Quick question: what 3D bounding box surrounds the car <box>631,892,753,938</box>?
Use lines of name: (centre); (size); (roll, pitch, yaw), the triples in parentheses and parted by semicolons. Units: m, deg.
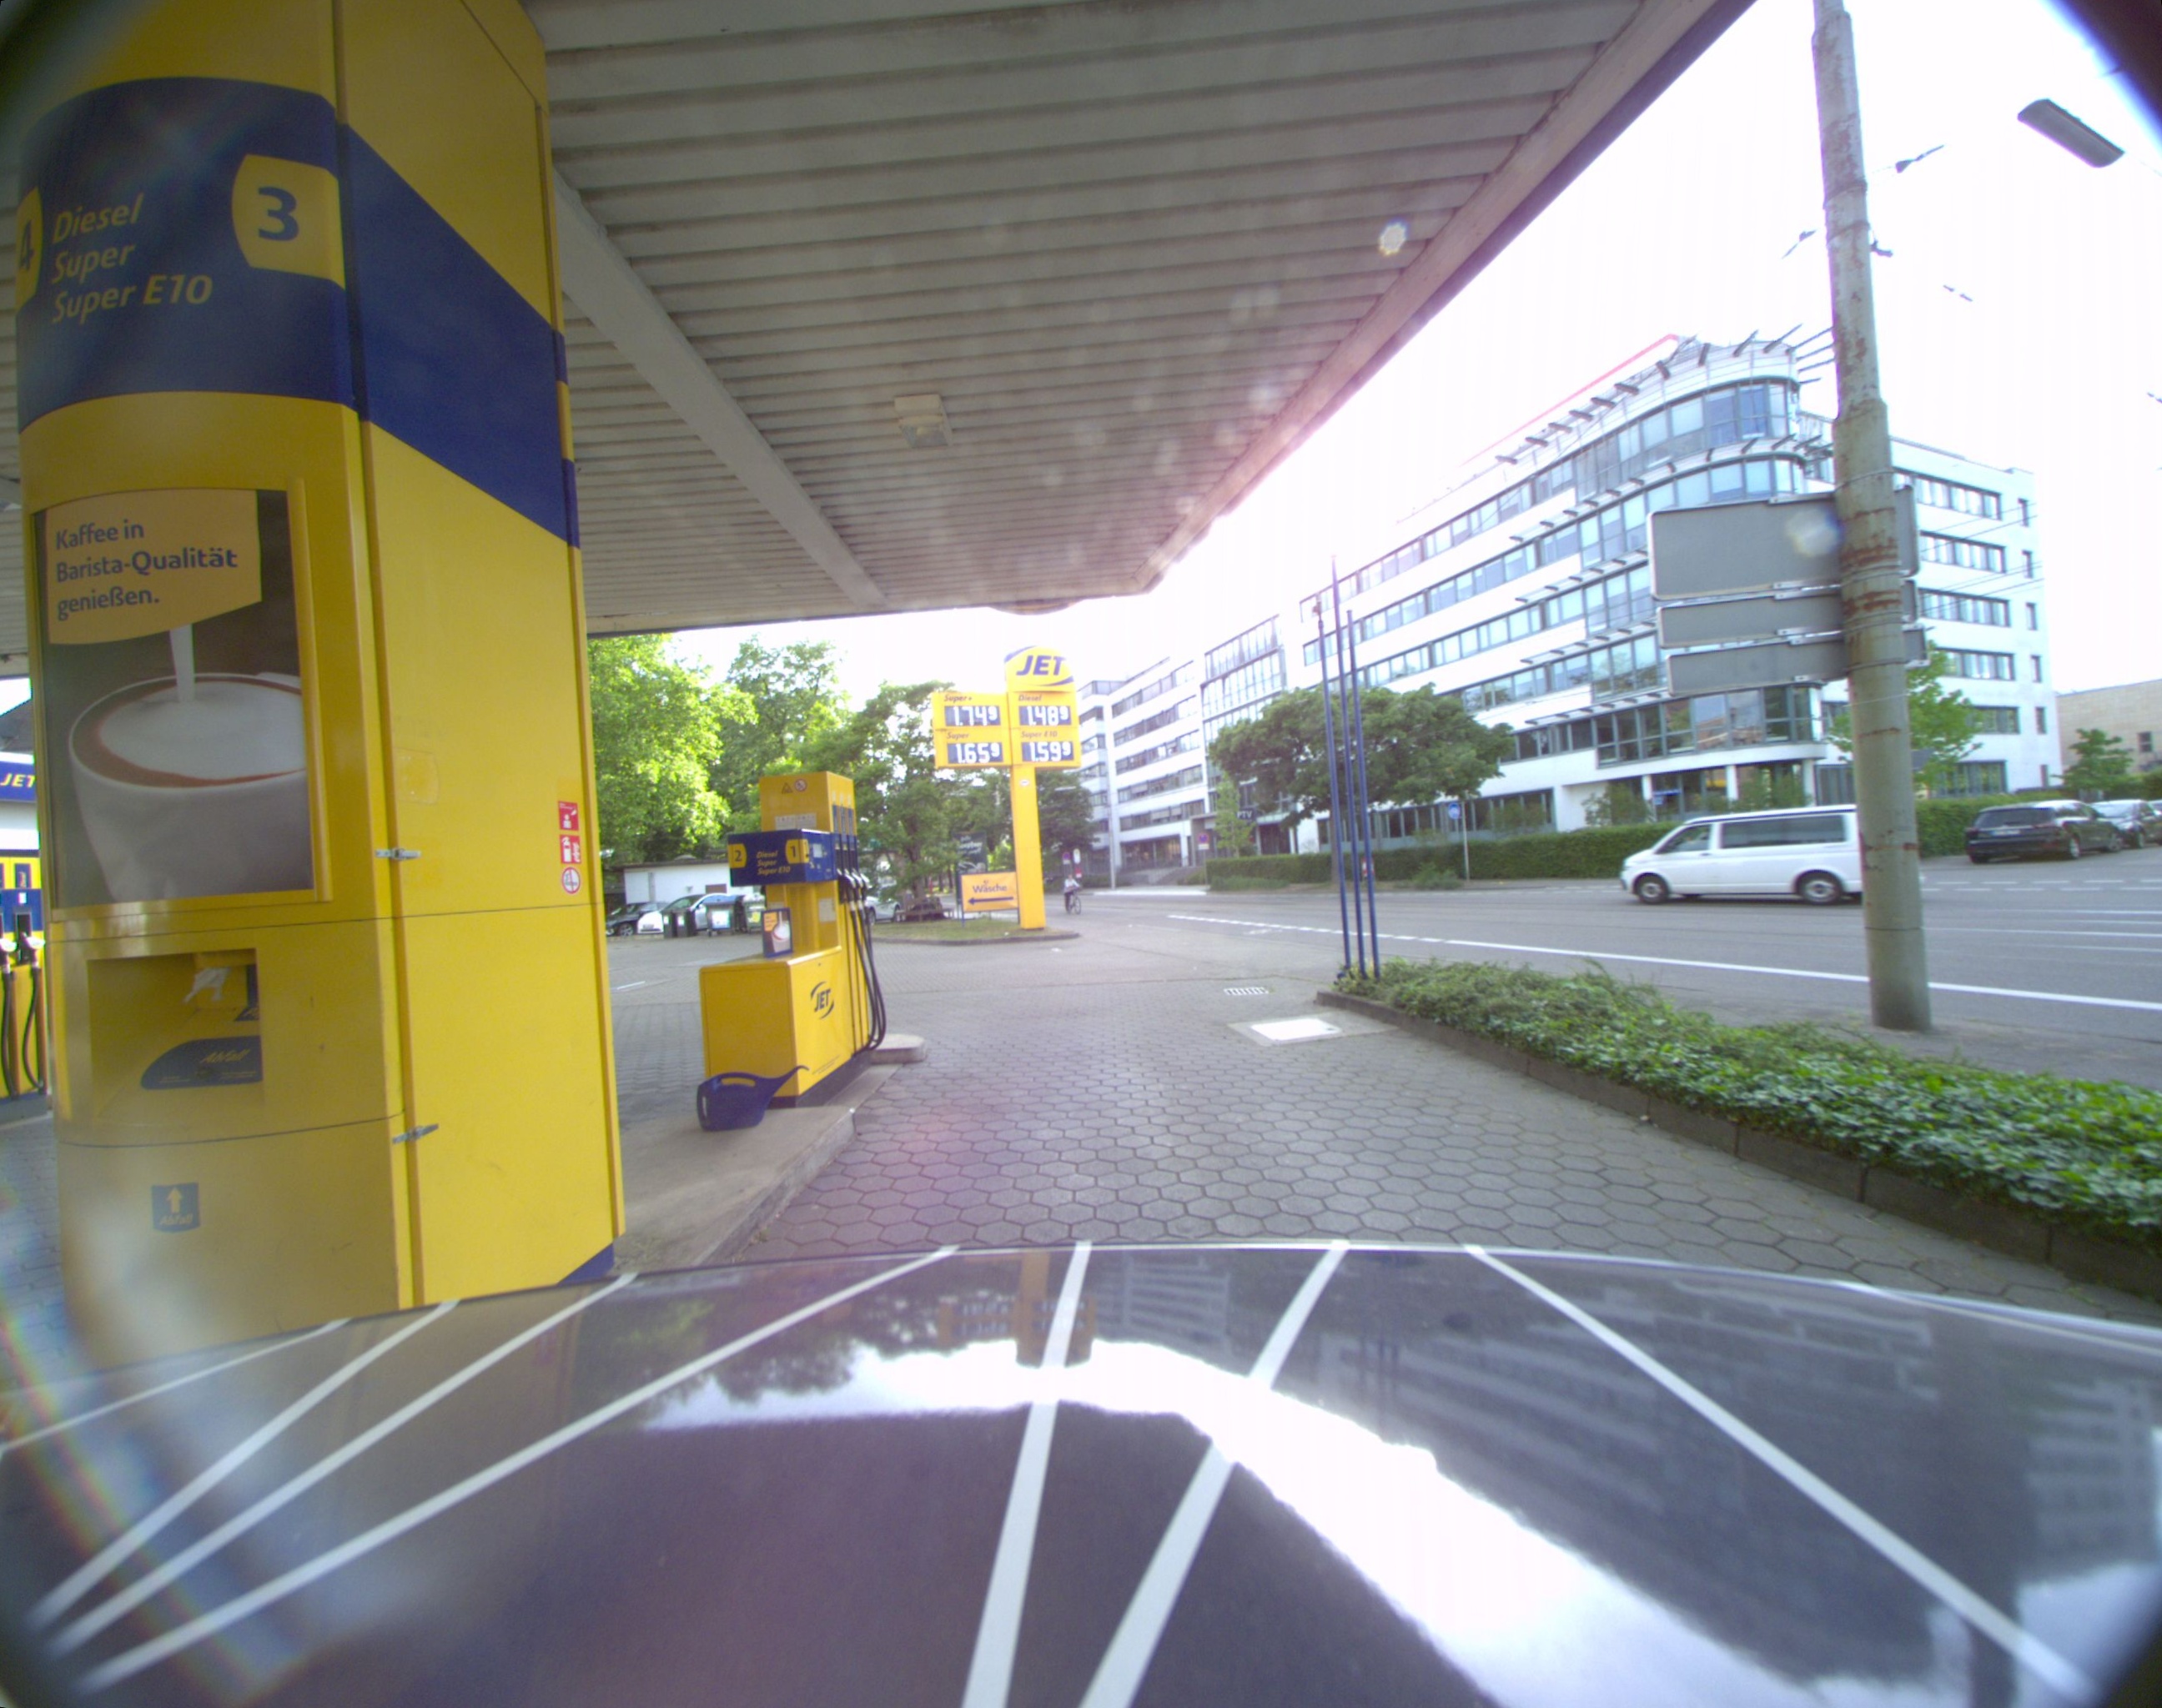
car: (-15.353, 2.386, 30.259); (1.785, 1.514, 4.229); (-4, -3, 17)

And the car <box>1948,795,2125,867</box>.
car: (27.383, -0.652, 21.773); (4.438, 1.603, 1.976); (-5, -1, -23)

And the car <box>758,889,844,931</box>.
car: (-11.795, 2.324, 32.247); (1.739, 1.500, 4.004); (-4, -2, 6)

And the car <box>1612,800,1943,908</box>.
car: (14.885, 0.088, 16.673); (2.002, 1.956, 4.881); (-3, -1, -24)

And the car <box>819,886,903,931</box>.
car: (-8.679, 2.118, 30.385); (1.739, 1.500, 4.003); (-4, -2, 6)

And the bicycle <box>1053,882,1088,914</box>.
bicycle: (-0.463, 1.856, 32.479); (0.736, 1.250, 1.936); (-6, 0, -21)

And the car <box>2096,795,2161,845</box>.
car: (37.157, -1.240, 26.081); (4.109, 1.544, 1.786); (-4, -1, -23)

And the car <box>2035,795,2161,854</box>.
car: (32.498, -0.945, 24.044); (4.109, 1.544, 1.786); (-4, -1, -23)

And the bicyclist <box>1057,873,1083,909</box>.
bicyclist: (-0.475, 1.591, 32.463); (0.736, 1.451, 0.915); (-6, 0, -21)

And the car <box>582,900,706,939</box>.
car: (-17.739, 2.634, 31.075); (1.745, 1.269, 4.230); (-5, -3, 19)
